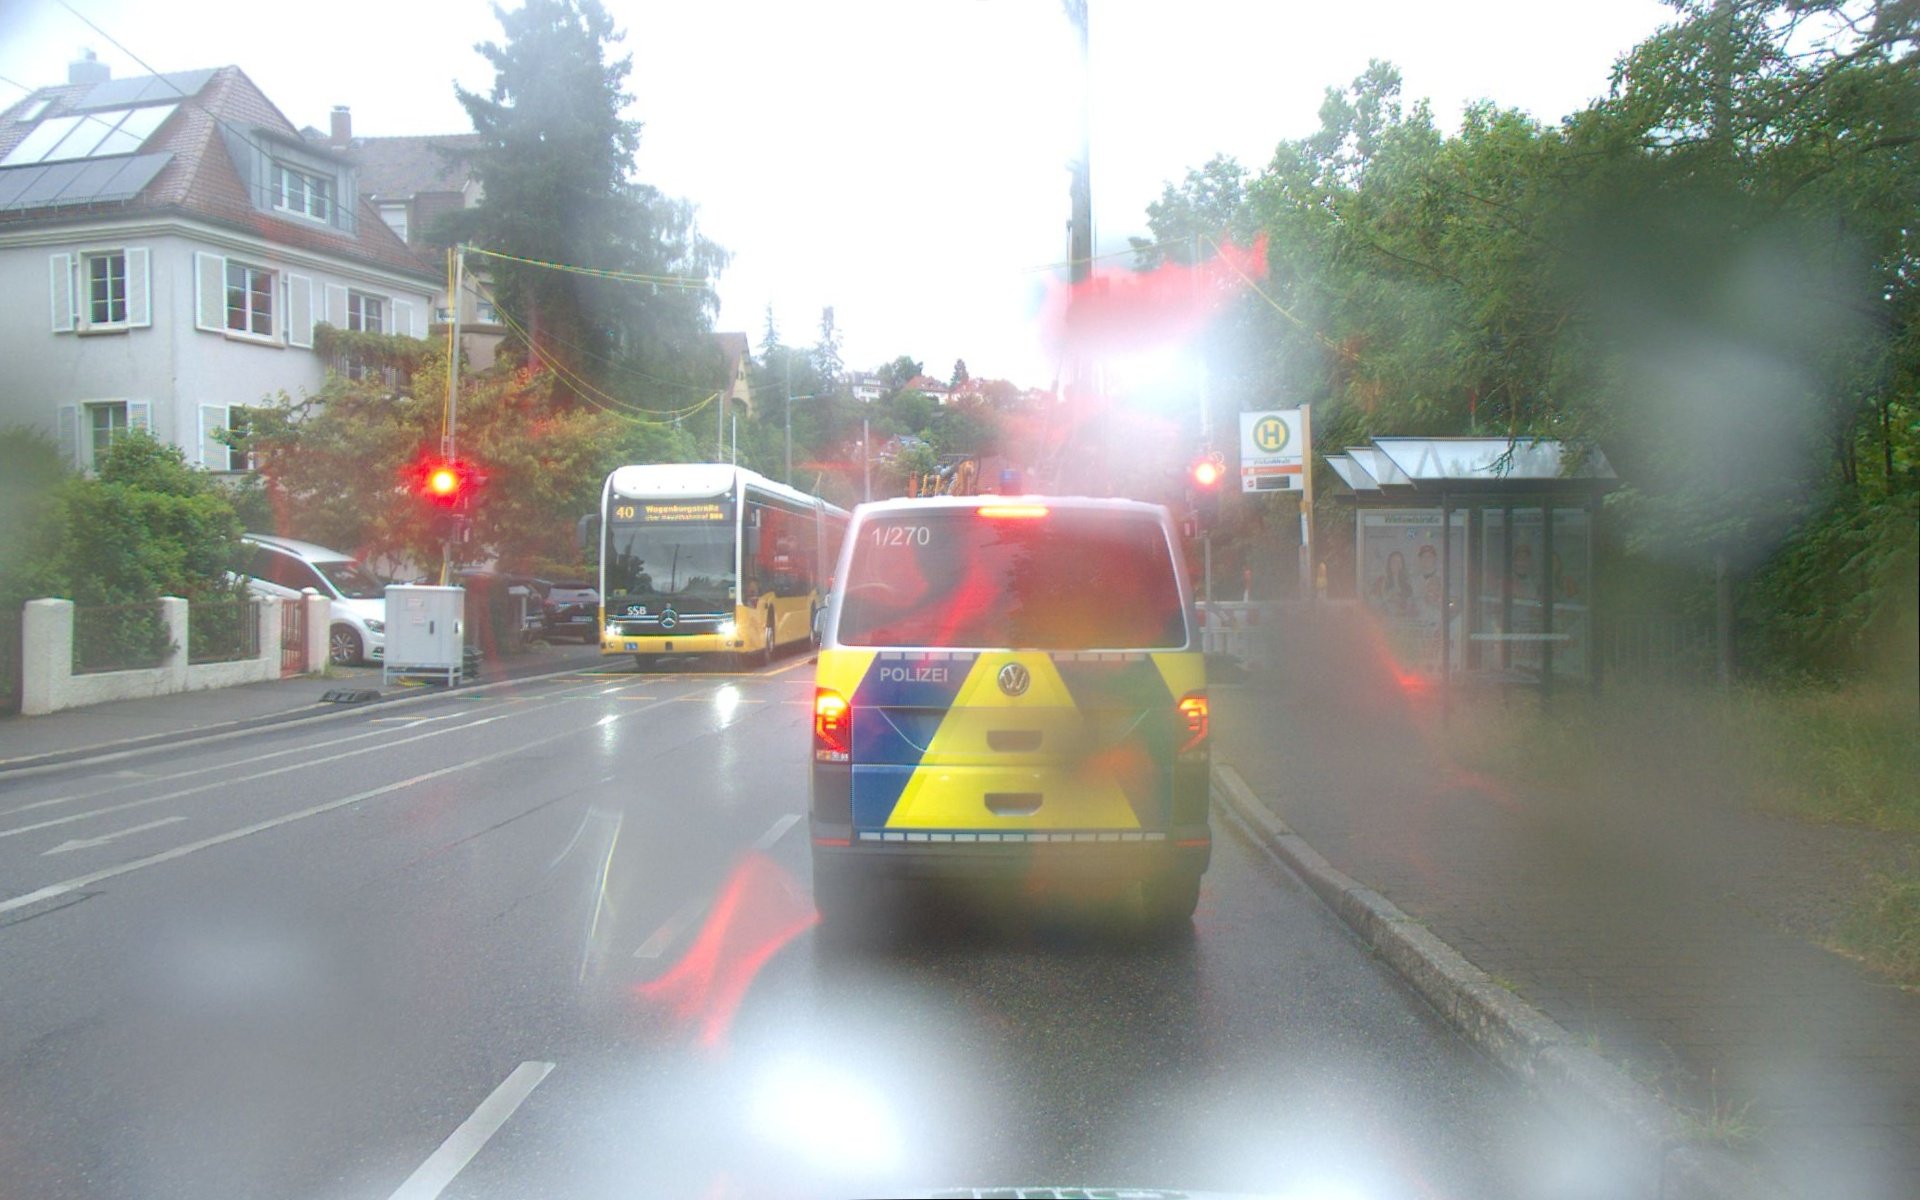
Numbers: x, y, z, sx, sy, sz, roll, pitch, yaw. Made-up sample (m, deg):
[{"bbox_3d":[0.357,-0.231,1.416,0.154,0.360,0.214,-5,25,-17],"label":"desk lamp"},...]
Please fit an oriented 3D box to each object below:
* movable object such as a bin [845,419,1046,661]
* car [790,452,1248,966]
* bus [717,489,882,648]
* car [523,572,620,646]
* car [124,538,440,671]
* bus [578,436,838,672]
[{"bbox_3d":[-0.173,-1.090,31.630,2.770,4.250,4.384,1,0,14],"label":"movable object such as a bin"},{"bbox_3d":[0.218,0.439,8.812,1.855,2.086,3.999,1,0,-1],"label":"car"},{"bbox_3d":[-4.044,-0.786,44.763,2.782,3.688,12.009,1,0,2],"label":"bus"},{"bbox_3d":[-8.919,0.177,37.820,1.739,1.512,3.721,1,2,-20],"label":"car"},{"bbox_3d":[-11.217,0.057,27.482,4.532,2.042,1.902,1,0,11],"label":"car"},{"bbox_3d":[-4.536,-0.783,32.828,2.782,3.783,12.009,1,0,2],"label":"bus"}]
